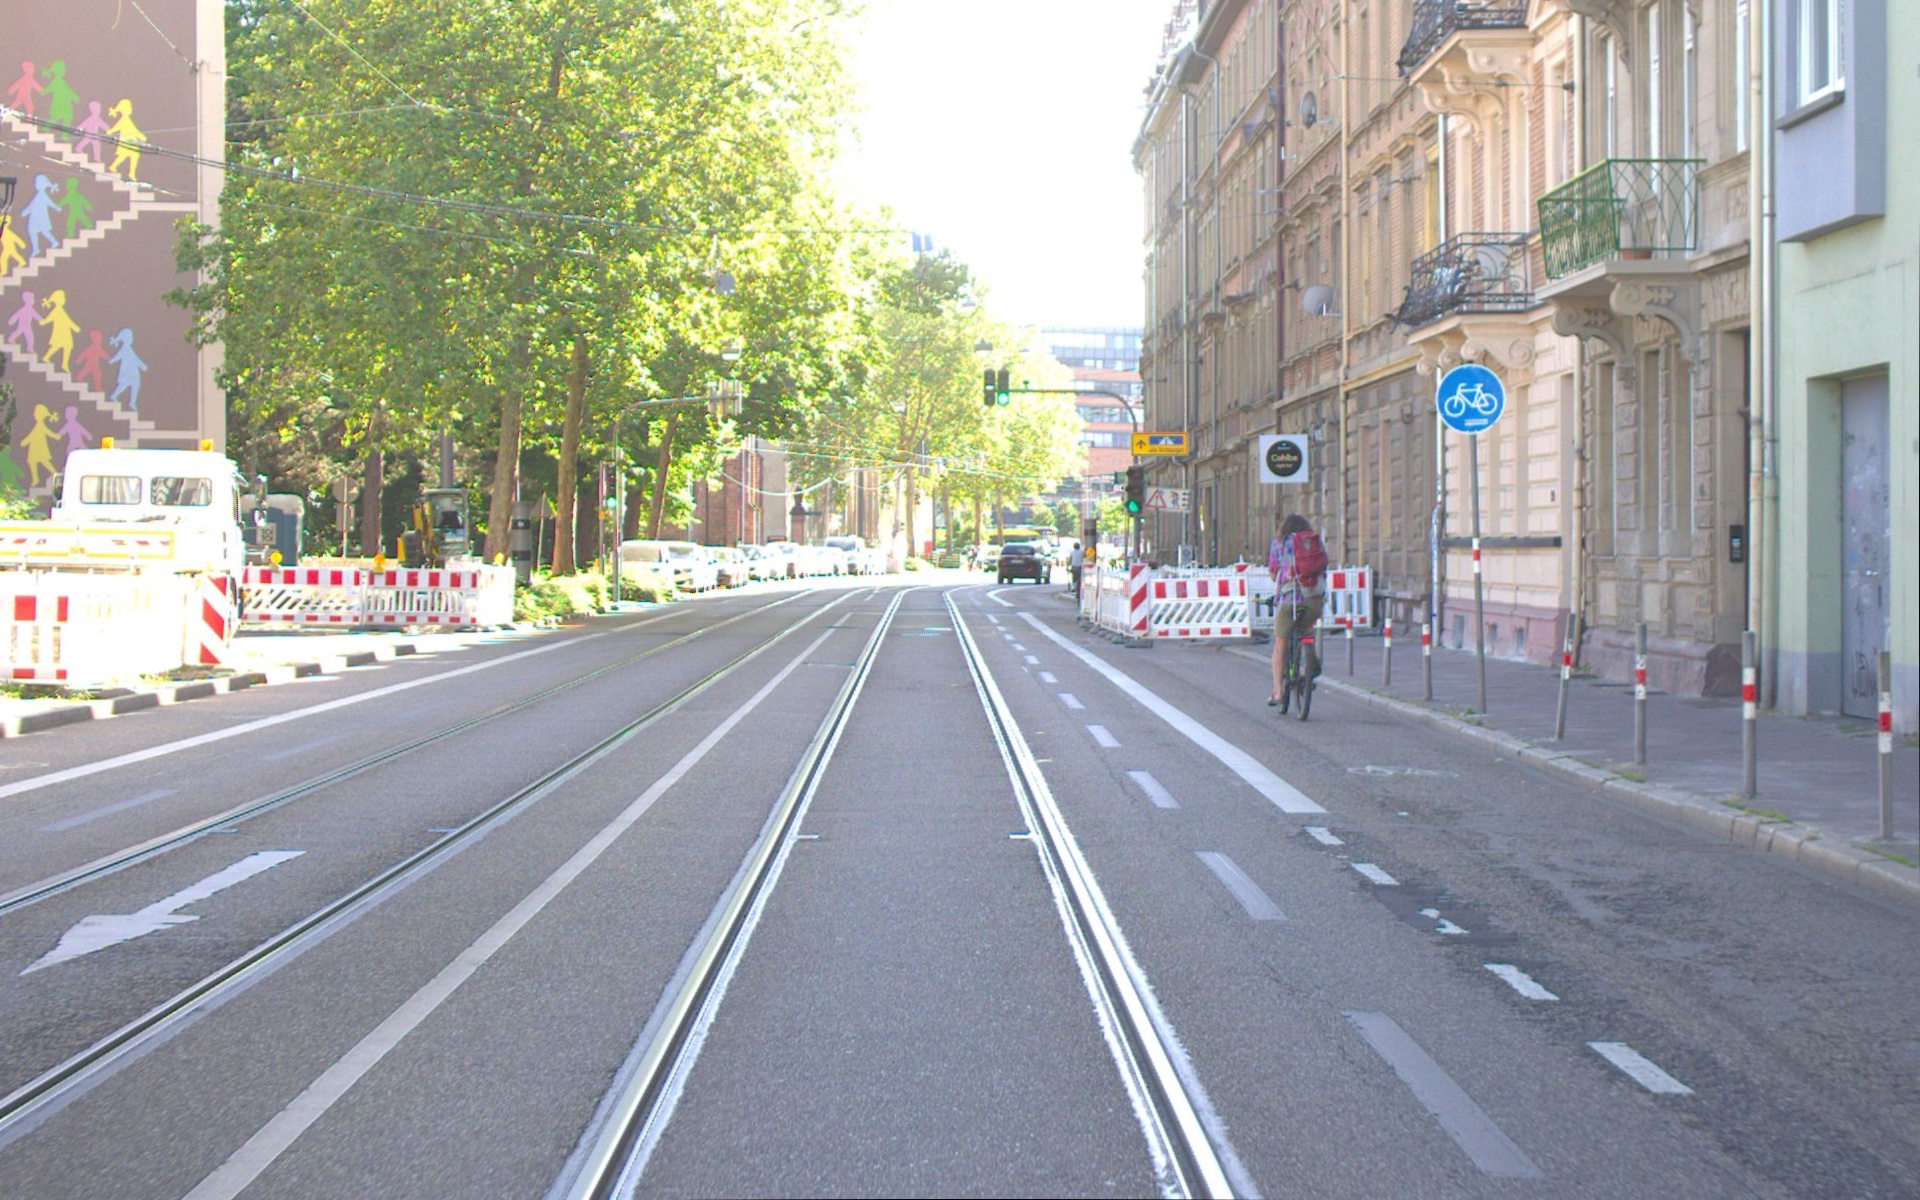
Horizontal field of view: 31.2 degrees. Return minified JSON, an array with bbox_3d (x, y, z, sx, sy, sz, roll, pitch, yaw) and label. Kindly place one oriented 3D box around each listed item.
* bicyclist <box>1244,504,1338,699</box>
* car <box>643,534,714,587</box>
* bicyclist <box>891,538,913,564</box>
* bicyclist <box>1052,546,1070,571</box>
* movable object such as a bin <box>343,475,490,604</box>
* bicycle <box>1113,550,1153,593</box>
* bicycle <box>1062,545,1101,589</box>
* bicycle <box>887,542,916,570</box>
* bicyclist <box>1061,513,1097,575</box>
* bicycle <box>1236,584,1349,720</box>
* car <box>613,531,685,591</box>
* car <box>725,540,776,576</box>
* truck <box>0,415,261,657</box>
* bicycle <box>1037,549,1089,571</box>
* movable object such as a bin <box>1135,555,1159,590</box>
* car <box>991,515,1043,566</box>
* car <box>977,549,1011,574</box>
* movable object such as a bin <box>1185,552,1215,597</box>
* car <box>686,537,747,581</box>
[{"bbox_3d":[2.942,0.011,30.638,0.667,1.691,1.043,2,0,-1],"label":"bicyclist"},{"bbox_3d":[-8.963,-1.262,109.690,1.748,1.602,4.043,2,0,2],"label":"car"},{"bbox_3d":[-3.346,-2.836,199.049,1.078,1.423,1.146,2,0,8],"label":"bicyclist"},{"bbox_3d":[5.908,-2.436,202.012,0.899,1.423,1.052,2,0,8],"label":"bicyclist"},{"bbox_3d":[-11.856,-1.317,75.391,2.495,2.636,5.990,2,1,-3],"label":"movable object such as a bin"},{"bbox_3d":[6.321,-1.021,125.458,0.971,1.510,3.244,2,0,11],"label":"bicycle"},{"bbox_3d":[3.097,-0.851,87.950,0.856,1.084,2.487,2,0,0],"label":"bicycle"},{"bbox_3d":[-3.394,-2.541,199.091,1.234,1.567,2.896,2,0,7],"label":"bicycle"},{"bbox_3d":[3.046,-1.432,87.926,0.838,1.552,0.965,2,0,-1],"label":"bicyclist"},{"bbox_3d":[2.938,0.438,30.604,0.681,1.110,2.707,2,1,-1],"label":"bicycle"},{"bbox_3d":[-8.950,-1.110,99.070,1.545,1.653,3.762,2,0,2],"label":"car"},{"bbox_3d":[-8.999,-1.789,148.169,1.748,1.490,4.043,2,0,2],"label":"car"},{"bbox_3d":[-10.753,-0.798,44.317,2.537,2.820,6.377,2,0,-4],"label":"truck"},{"bbox_3d":[6.042,-2.338,202.059,2.889,1.227,0.883,2,0,11],"label":"bicycle"},{"bbox_3d":[5.668,-0.842,104.405,0.673,1.032,0.813,0,2,0],"label":"movable object such as a bin"},{"bbox_3d":[2.327,-2.422,140.531,1.993,2.007,4.000,2,0,0],"label":"car"},{"bbox_3d":[2.080,-2.334,206.933,1.748,1.417,4.043,2,0,4],"label":"car"},{"bbox_3d":[6.019,-0.630,86.223,0.620,1.106,0.781,2,0,-3],"label":"movable object such as a bin"},{"bbox_3d":[-8.854,-1.486,125.223,1.748,1.504,4.043,2,0,2],"label":"car"}]
